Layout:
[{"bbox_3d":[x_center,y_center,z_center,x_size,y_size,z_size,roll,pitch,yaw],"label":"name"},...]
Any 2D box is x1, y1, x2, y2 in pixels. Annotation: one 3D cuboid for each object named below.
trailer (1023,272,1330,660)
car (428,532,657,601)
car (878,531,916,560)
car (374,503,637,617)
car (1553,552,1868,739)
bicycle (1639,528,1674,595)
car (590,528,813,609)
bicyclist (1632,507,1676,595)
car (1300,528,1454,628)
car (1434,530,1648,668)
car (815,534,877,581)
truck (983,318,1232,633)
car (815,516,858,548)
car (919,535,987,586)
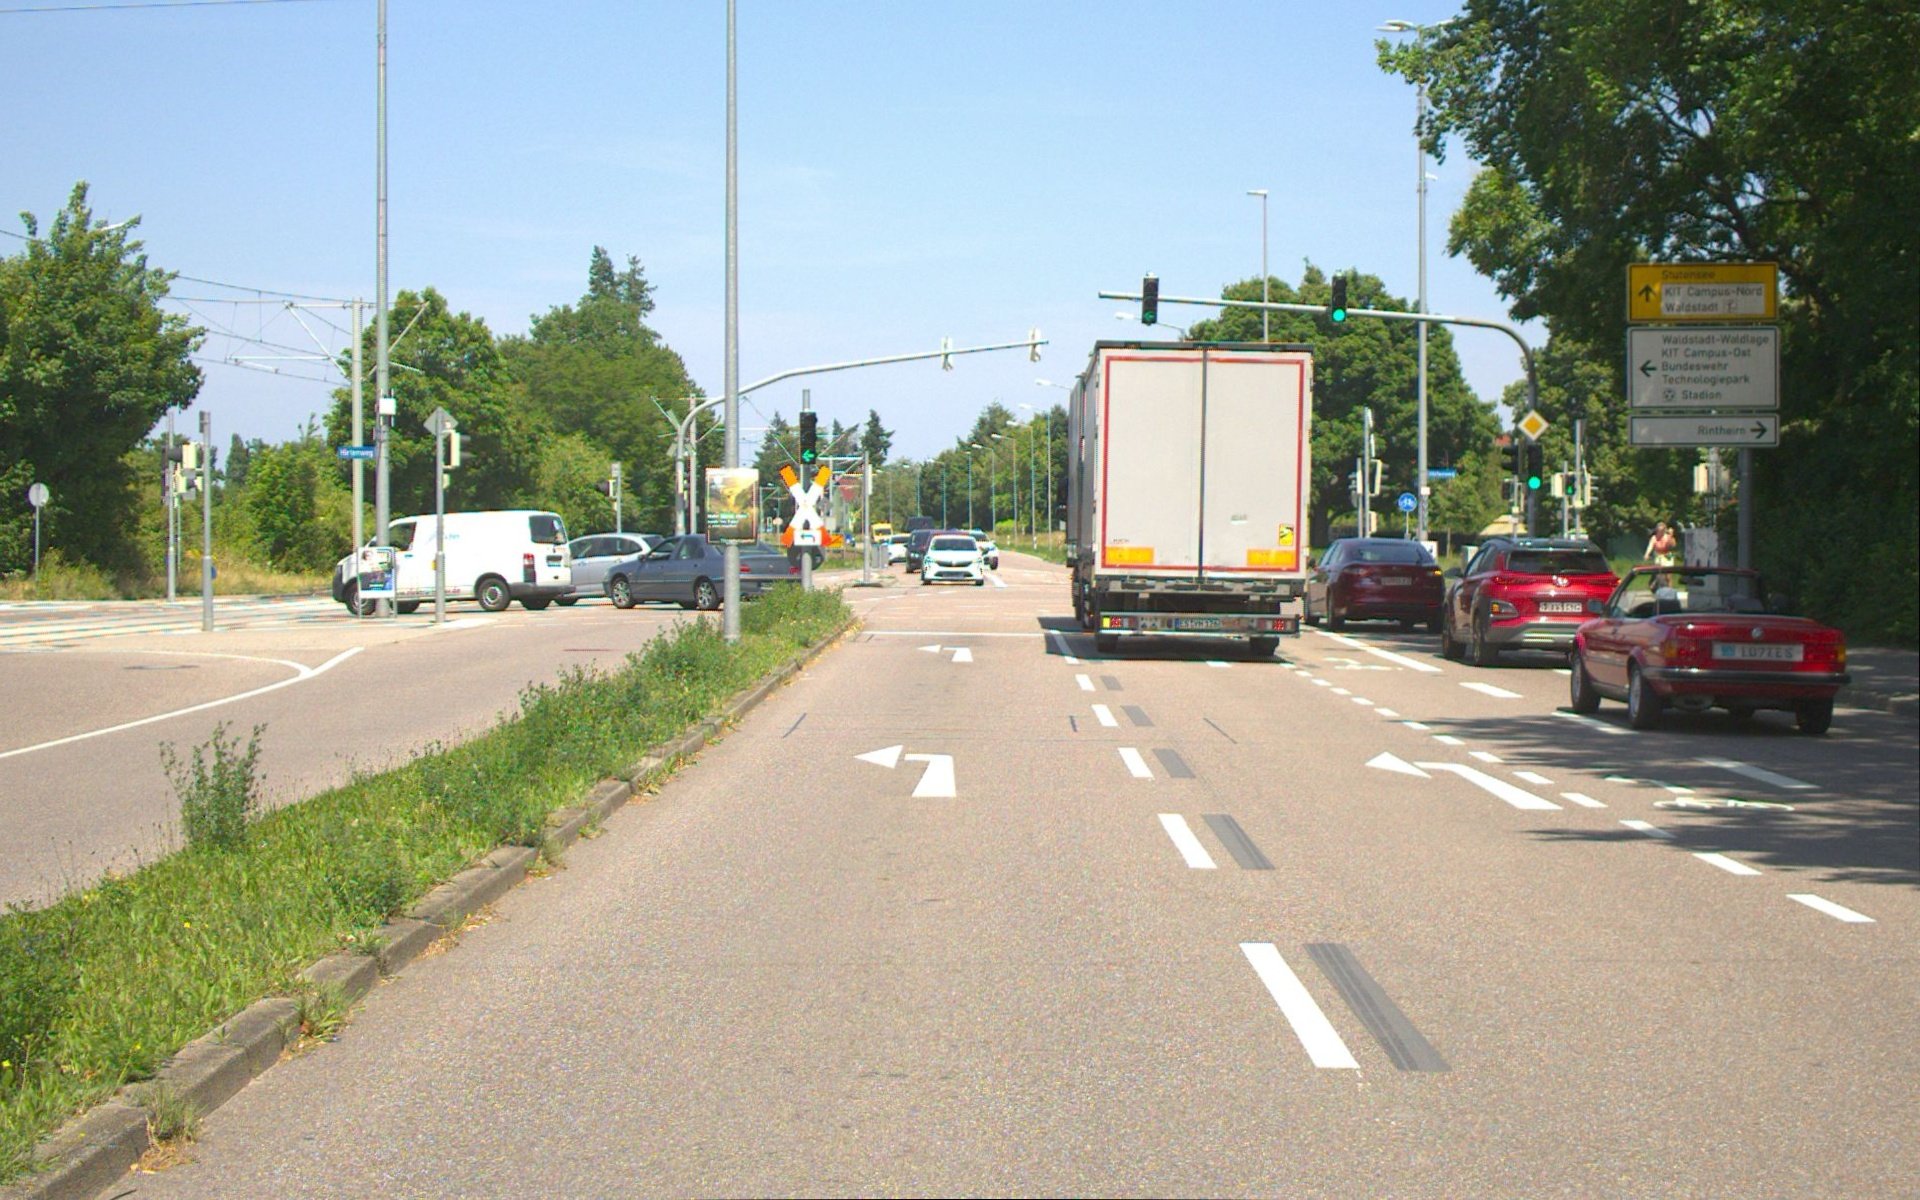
[{"bbox_3d":[2.580,-1.653,44.086,2.827,4.406,8.751,1,1,-3],"label":"trailer"},{"bbox_3d":[-8.721,-0.700,71.741,4.414,1.367,1.899,0,2,-20],"label":"car"},{"bbox_3d":[-3.172,-2.756,173.251,1.858,1.368,4.156,1,1,-1],"label":"car"},{"bbox_3d":[-8.929,-0.817,67.542,4.737,2.103,1.998,1,2,20],"label":"car"},{"bbox_3d":[6.281,0.329,29.237,1.654,1.392,4.267,1,1,-1],"label":"car"},{"bbox_3d":[13.944,-0.783,68.830,0.645,1.300,1.625,-2,1,12],"label":"bicycle"},{"bbox_3d":[-4.798,-0.600,63.283,1.893,1.367,4.429,0,2,-39],"label":"car"},{"bbox_3d":[13.887,-0.984,68.809,0.802,1.721,0.678,-2,0,12],"label":"bicyclist"},{"bbox_3d":[6.649,-0.386,55.265,1.993,1.498,4.502,0,2,1],"label":"car"},{"bbox_3d":[7.044,-0.054,42.042,1.858,1.544,3.887,1,1,-1],"label":"car"},{"bbox_3d":[-3.563,-1.347,108.152,1.858,1.368,4.156,1,1,-1],"label":"car"},{"bbox_3d":[2.110,-1.897,52.581,2.827,4.329,8.286,2,2,-3],"label":"truck"},{"bbox_3d":[-5.677,-3.140,158.430,1.858,1.368,4.156,1,1,-1],"label":"car"},{"bbox_3d":[-0.213,-1.160,98.725,1.858,1.368,4.156,1,1,-1],"label":"car"}]
